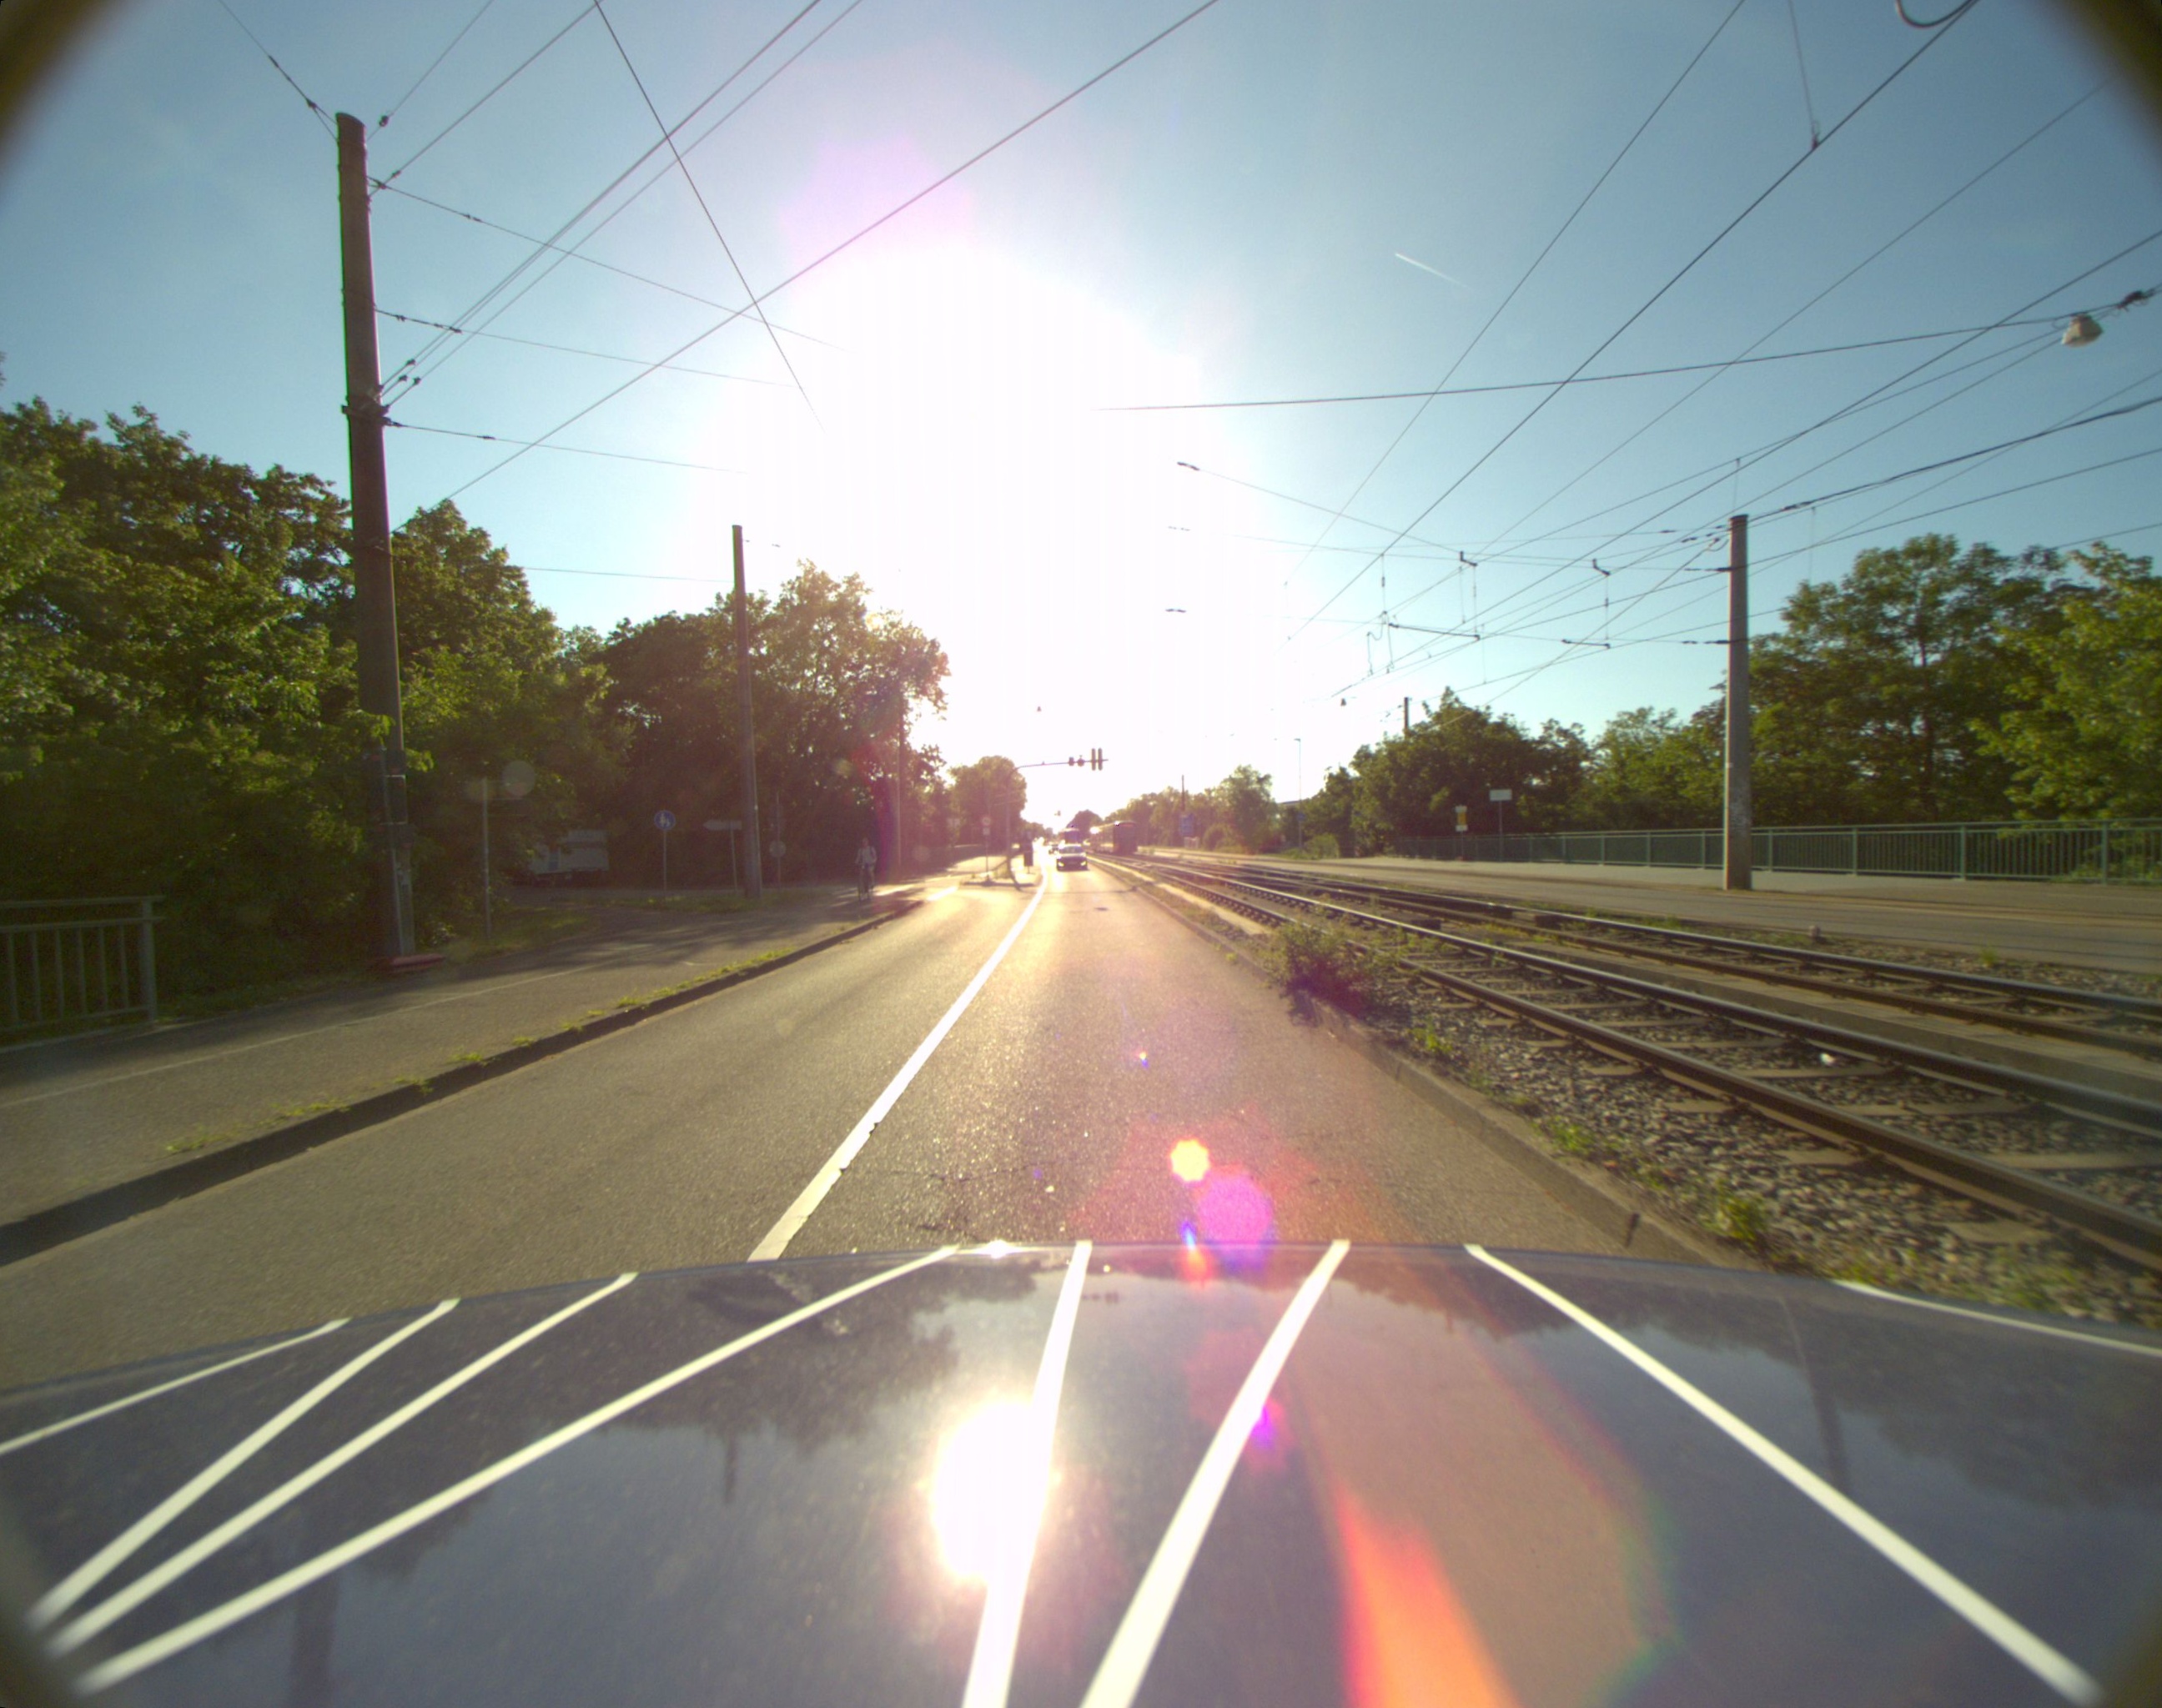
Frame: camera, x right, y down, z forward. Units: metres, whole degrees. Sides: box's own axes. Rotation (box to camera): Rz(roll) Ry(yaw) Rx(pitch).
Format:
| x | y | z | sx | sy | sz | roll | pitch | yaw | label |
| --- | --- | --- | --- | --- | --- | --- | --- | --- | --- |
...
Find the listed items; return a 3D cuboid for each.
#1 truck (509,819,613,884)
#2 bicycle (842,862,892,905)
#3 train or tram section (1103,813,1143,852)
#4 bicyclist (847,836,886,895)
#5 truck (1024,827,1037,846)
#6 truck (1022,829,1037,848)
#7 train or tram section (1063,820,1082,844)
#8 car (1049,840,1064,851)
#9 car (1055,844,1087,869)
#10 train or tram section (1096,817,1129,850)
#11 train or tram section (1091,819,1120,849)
| x | y | z | sx | sy | sz | roll | pitch | yaw | label |
| --- | --- | --- | --- | --- | --- | --- | --- | --- | --- |
| -34.578 | -0.149 | 50.303 | 9.857 | 3.975 | 2.565 | 0 | 2 | 37 | truck |
| -6.367 | 0.843 | 22.761 | 0.733 | 1.116 | 2.741 | -4 | 1 | -2 | bicycle |
| 4.471 | -2.284 | 83.332 | 2.986 | 3.879 | 12.694 | -1 | 1 | -3 | train or tram section |
| -6.417 | 0.318 | 22.772 | 0.733 | 1.680 | 1.201 | -4 | 1 | -2 | bicyclist |
| -10.270 | -3.590 | 155.498 | 2.560 | 3.827 | 7.865 | -1 | 1 | -3 | truck |
| -9.393 | -2.861 | 138.927 | 2.610 | 3.186 | 7.865 | -1 | 1 | -3 | truck |
| -1.491 | -3.706 | 130.265 | 2.570 | 3.879 | 11.665 | -1 | 1 | -4 | train or tram section |
| -3.125 | -1.082 | 97.593 | 1.801 | 1.345 | 3.999 | -1 | 1 | 0 | car |
| -0.555 | 0.123 | 45.079 | 1.801 | 1.345 | 3.999 | -1 | 1 | 0 | car |
| 3.870 | -2.530 | 95.448 | 2.984 | 3.879 | 11.658 | -1 | 1 | -3 | train or tram section |
| 3.296 | -2.793 | 107.795 | 3.012 | 3.879 | 13.073 | -1 | 1 | -3 | train or tram section |
